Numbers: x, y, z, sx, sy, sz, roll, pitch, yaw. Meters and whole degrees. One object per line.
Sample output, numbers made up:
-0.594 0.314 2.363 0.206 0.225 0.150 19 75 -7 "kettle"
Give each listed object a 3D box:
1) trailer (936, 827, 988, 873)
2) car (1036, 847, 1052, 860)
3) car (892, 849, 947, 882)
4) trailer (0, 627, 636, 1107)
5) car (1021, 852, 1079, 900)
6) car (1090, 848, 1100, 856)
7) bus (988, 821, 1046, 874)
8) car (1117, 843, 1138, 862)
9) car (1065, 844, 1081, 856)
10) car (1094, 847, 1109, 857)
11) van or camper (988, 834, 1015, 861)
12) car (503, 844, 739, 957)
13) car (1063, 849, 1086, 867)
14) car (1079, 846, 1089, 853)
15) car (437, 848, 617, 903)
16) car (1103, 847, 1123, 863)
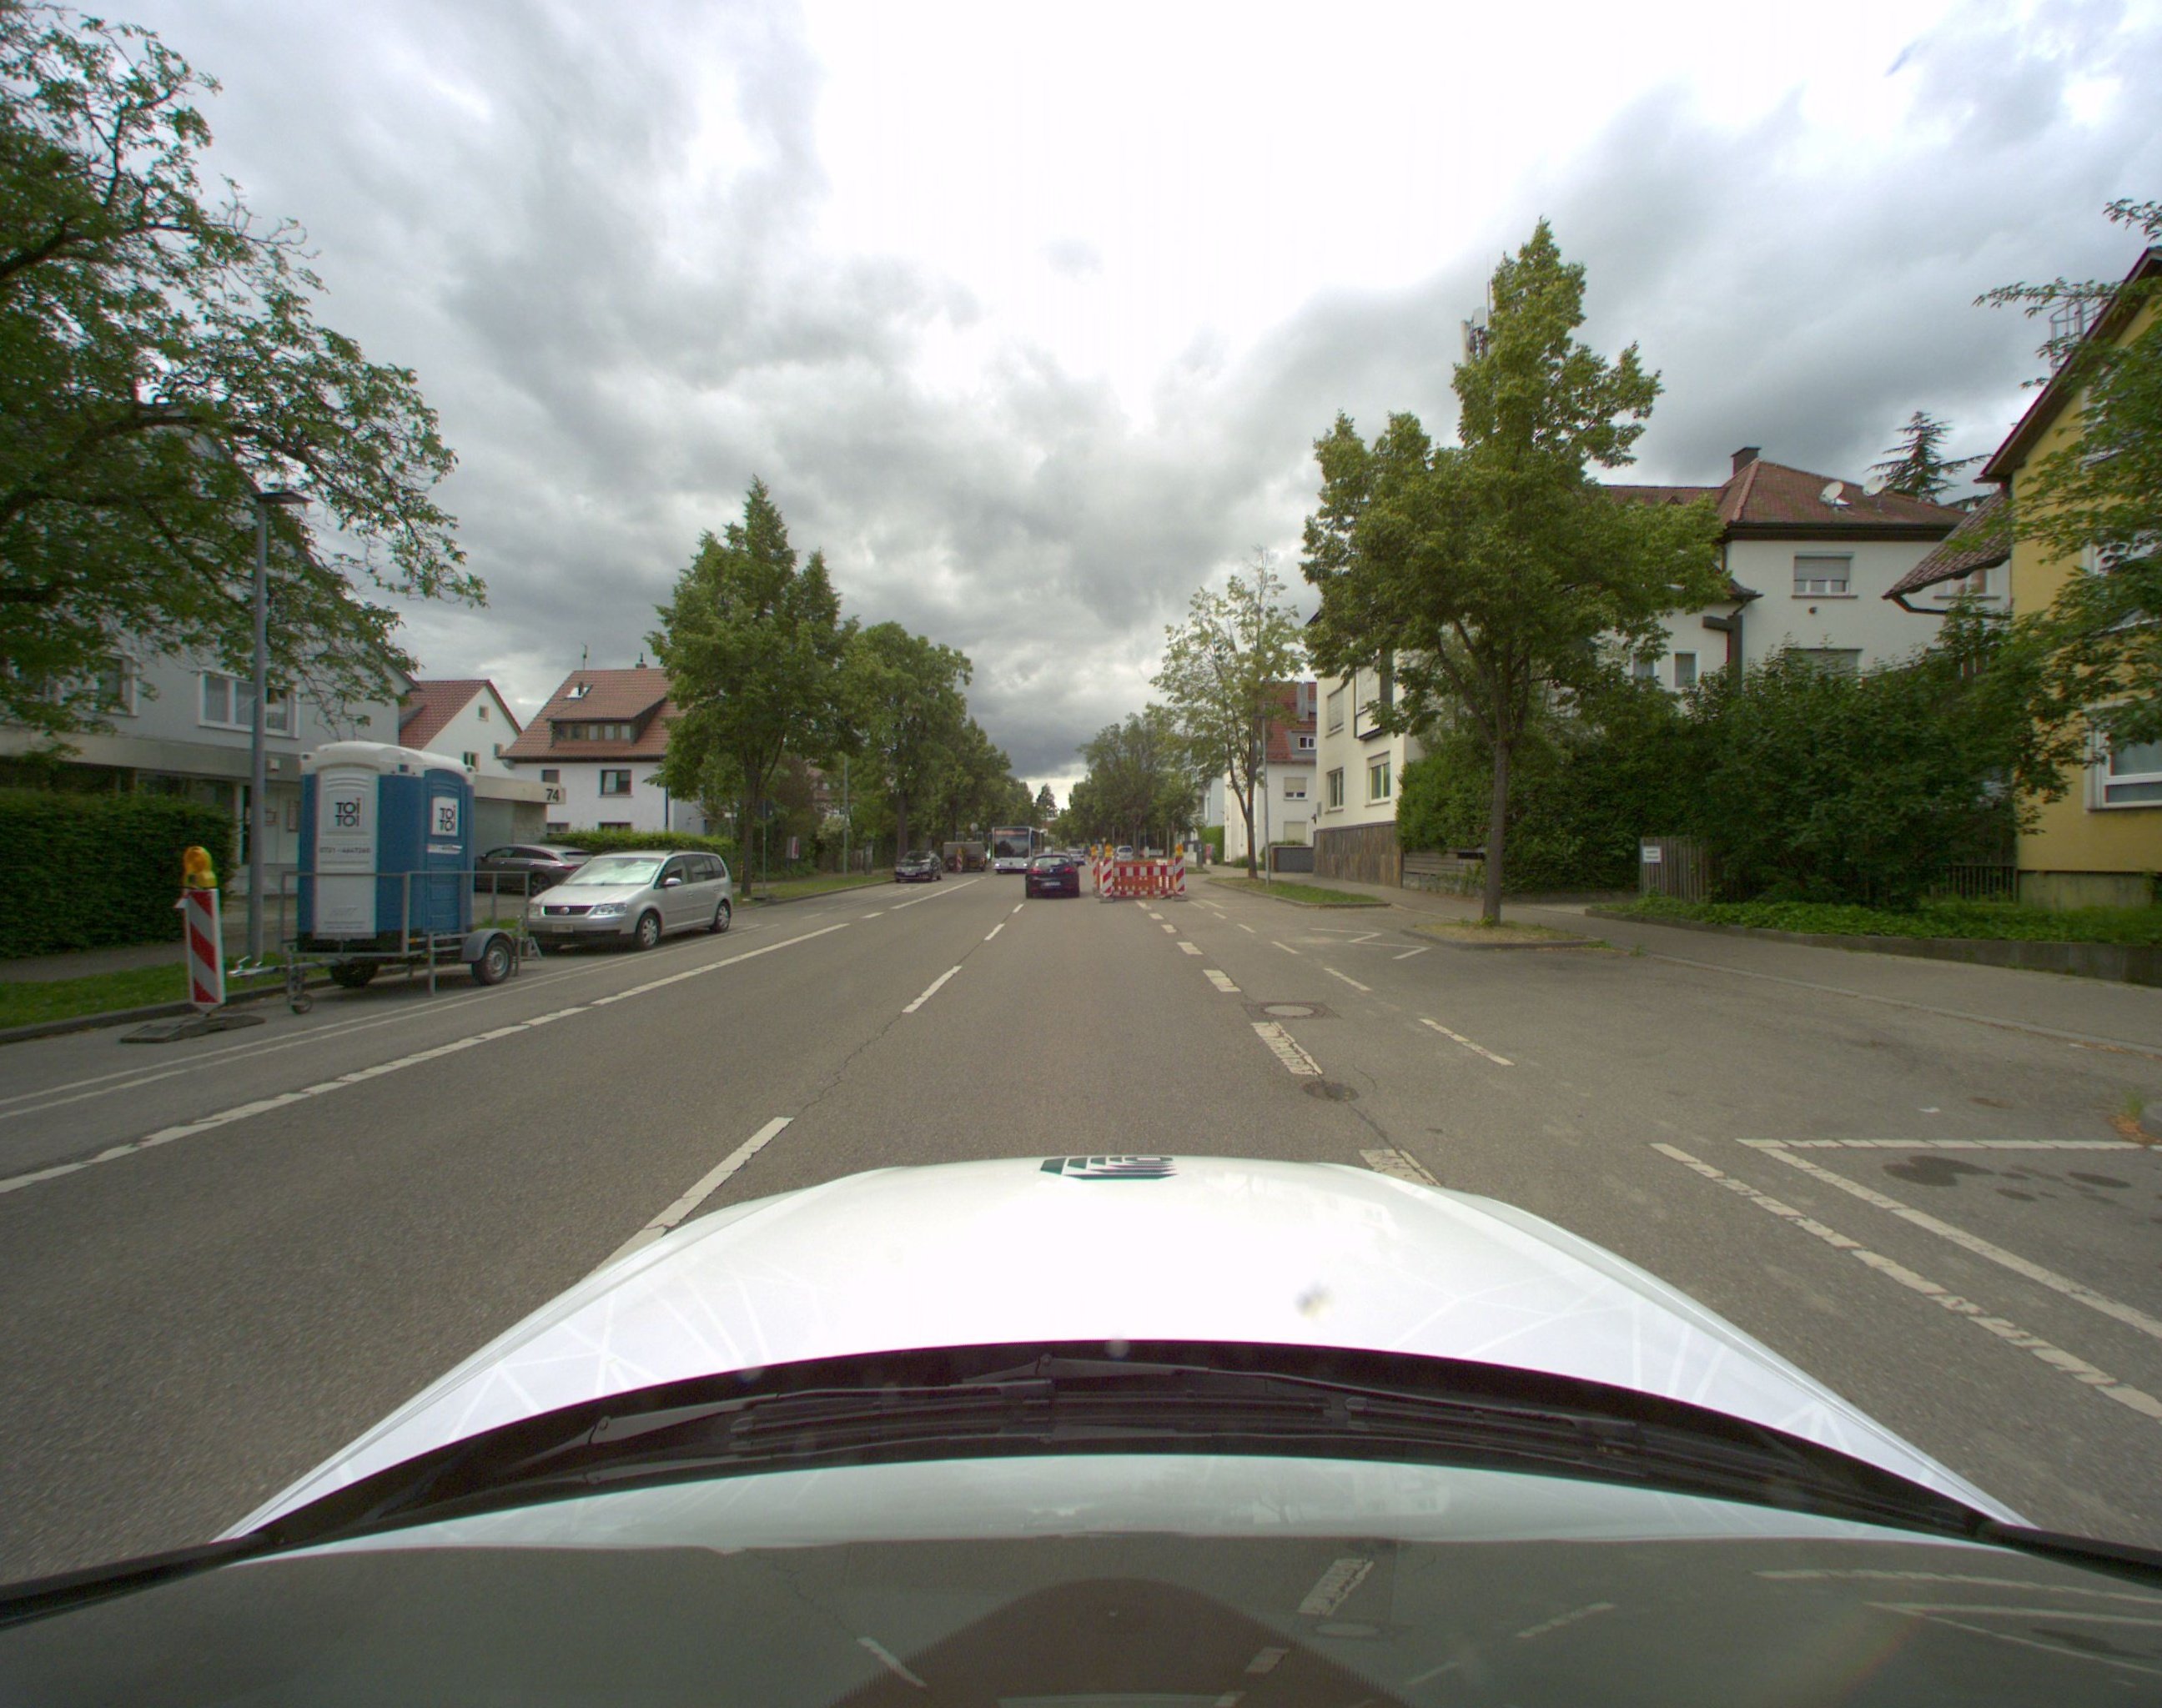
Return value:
-8.021 -0.219 55.675 2.667 2.941 7.470 0 0 -2 "trailer"
-5.017 -0.057 110.804 1.987 1.667 4.589 -2 0 0 "car"
-8.001 0.590 40.680 1.855 1.553 4.617 0 -1 -1 "car"
-7.651 0.074 7.910 2.361 2.963 7.018 -1 0 4 "trailer"
-1.071 0.681 27.027 1.779 1.449 3.553 -1 0 -4 "car"
2.322 -0.358 137.757 1.632 1.420 4.000 -1 0 0 "car"
-4.328 -0.354 59.395 2.796 3.288 18.041 0 0 0 "bus"
4.158 -0.165 73.857 1.628 1.665 3.646 -1 0 -1 "car"
-1.056 -0.532 108.540 1.989 1.530 3.996 -1 0 -3 "car"
2.891 -0.312 117.473 2.015 1.443 5.023 0 0 -1 "car"
-9.062 -0.751 93.201 2.428 3.009 7.689 -1 0 -1 "van or camper"
-7.737 0.696 14.242 1.683 1.684 4.225 0 0 0 "car"
-0.537 0.329 74.371 1.987 1.558 4.001 -1 0 1 "car"
0.652 -0.876 172.707 1.681 1.432 4.035 -1 1 -6 "car"
-15.850 0.587 23.399 4.057 1.433 1.804 1 1 7 "car"
3.117 0.046 79.570 1.683 1.493 4.224 -1 0 -2 "car"
